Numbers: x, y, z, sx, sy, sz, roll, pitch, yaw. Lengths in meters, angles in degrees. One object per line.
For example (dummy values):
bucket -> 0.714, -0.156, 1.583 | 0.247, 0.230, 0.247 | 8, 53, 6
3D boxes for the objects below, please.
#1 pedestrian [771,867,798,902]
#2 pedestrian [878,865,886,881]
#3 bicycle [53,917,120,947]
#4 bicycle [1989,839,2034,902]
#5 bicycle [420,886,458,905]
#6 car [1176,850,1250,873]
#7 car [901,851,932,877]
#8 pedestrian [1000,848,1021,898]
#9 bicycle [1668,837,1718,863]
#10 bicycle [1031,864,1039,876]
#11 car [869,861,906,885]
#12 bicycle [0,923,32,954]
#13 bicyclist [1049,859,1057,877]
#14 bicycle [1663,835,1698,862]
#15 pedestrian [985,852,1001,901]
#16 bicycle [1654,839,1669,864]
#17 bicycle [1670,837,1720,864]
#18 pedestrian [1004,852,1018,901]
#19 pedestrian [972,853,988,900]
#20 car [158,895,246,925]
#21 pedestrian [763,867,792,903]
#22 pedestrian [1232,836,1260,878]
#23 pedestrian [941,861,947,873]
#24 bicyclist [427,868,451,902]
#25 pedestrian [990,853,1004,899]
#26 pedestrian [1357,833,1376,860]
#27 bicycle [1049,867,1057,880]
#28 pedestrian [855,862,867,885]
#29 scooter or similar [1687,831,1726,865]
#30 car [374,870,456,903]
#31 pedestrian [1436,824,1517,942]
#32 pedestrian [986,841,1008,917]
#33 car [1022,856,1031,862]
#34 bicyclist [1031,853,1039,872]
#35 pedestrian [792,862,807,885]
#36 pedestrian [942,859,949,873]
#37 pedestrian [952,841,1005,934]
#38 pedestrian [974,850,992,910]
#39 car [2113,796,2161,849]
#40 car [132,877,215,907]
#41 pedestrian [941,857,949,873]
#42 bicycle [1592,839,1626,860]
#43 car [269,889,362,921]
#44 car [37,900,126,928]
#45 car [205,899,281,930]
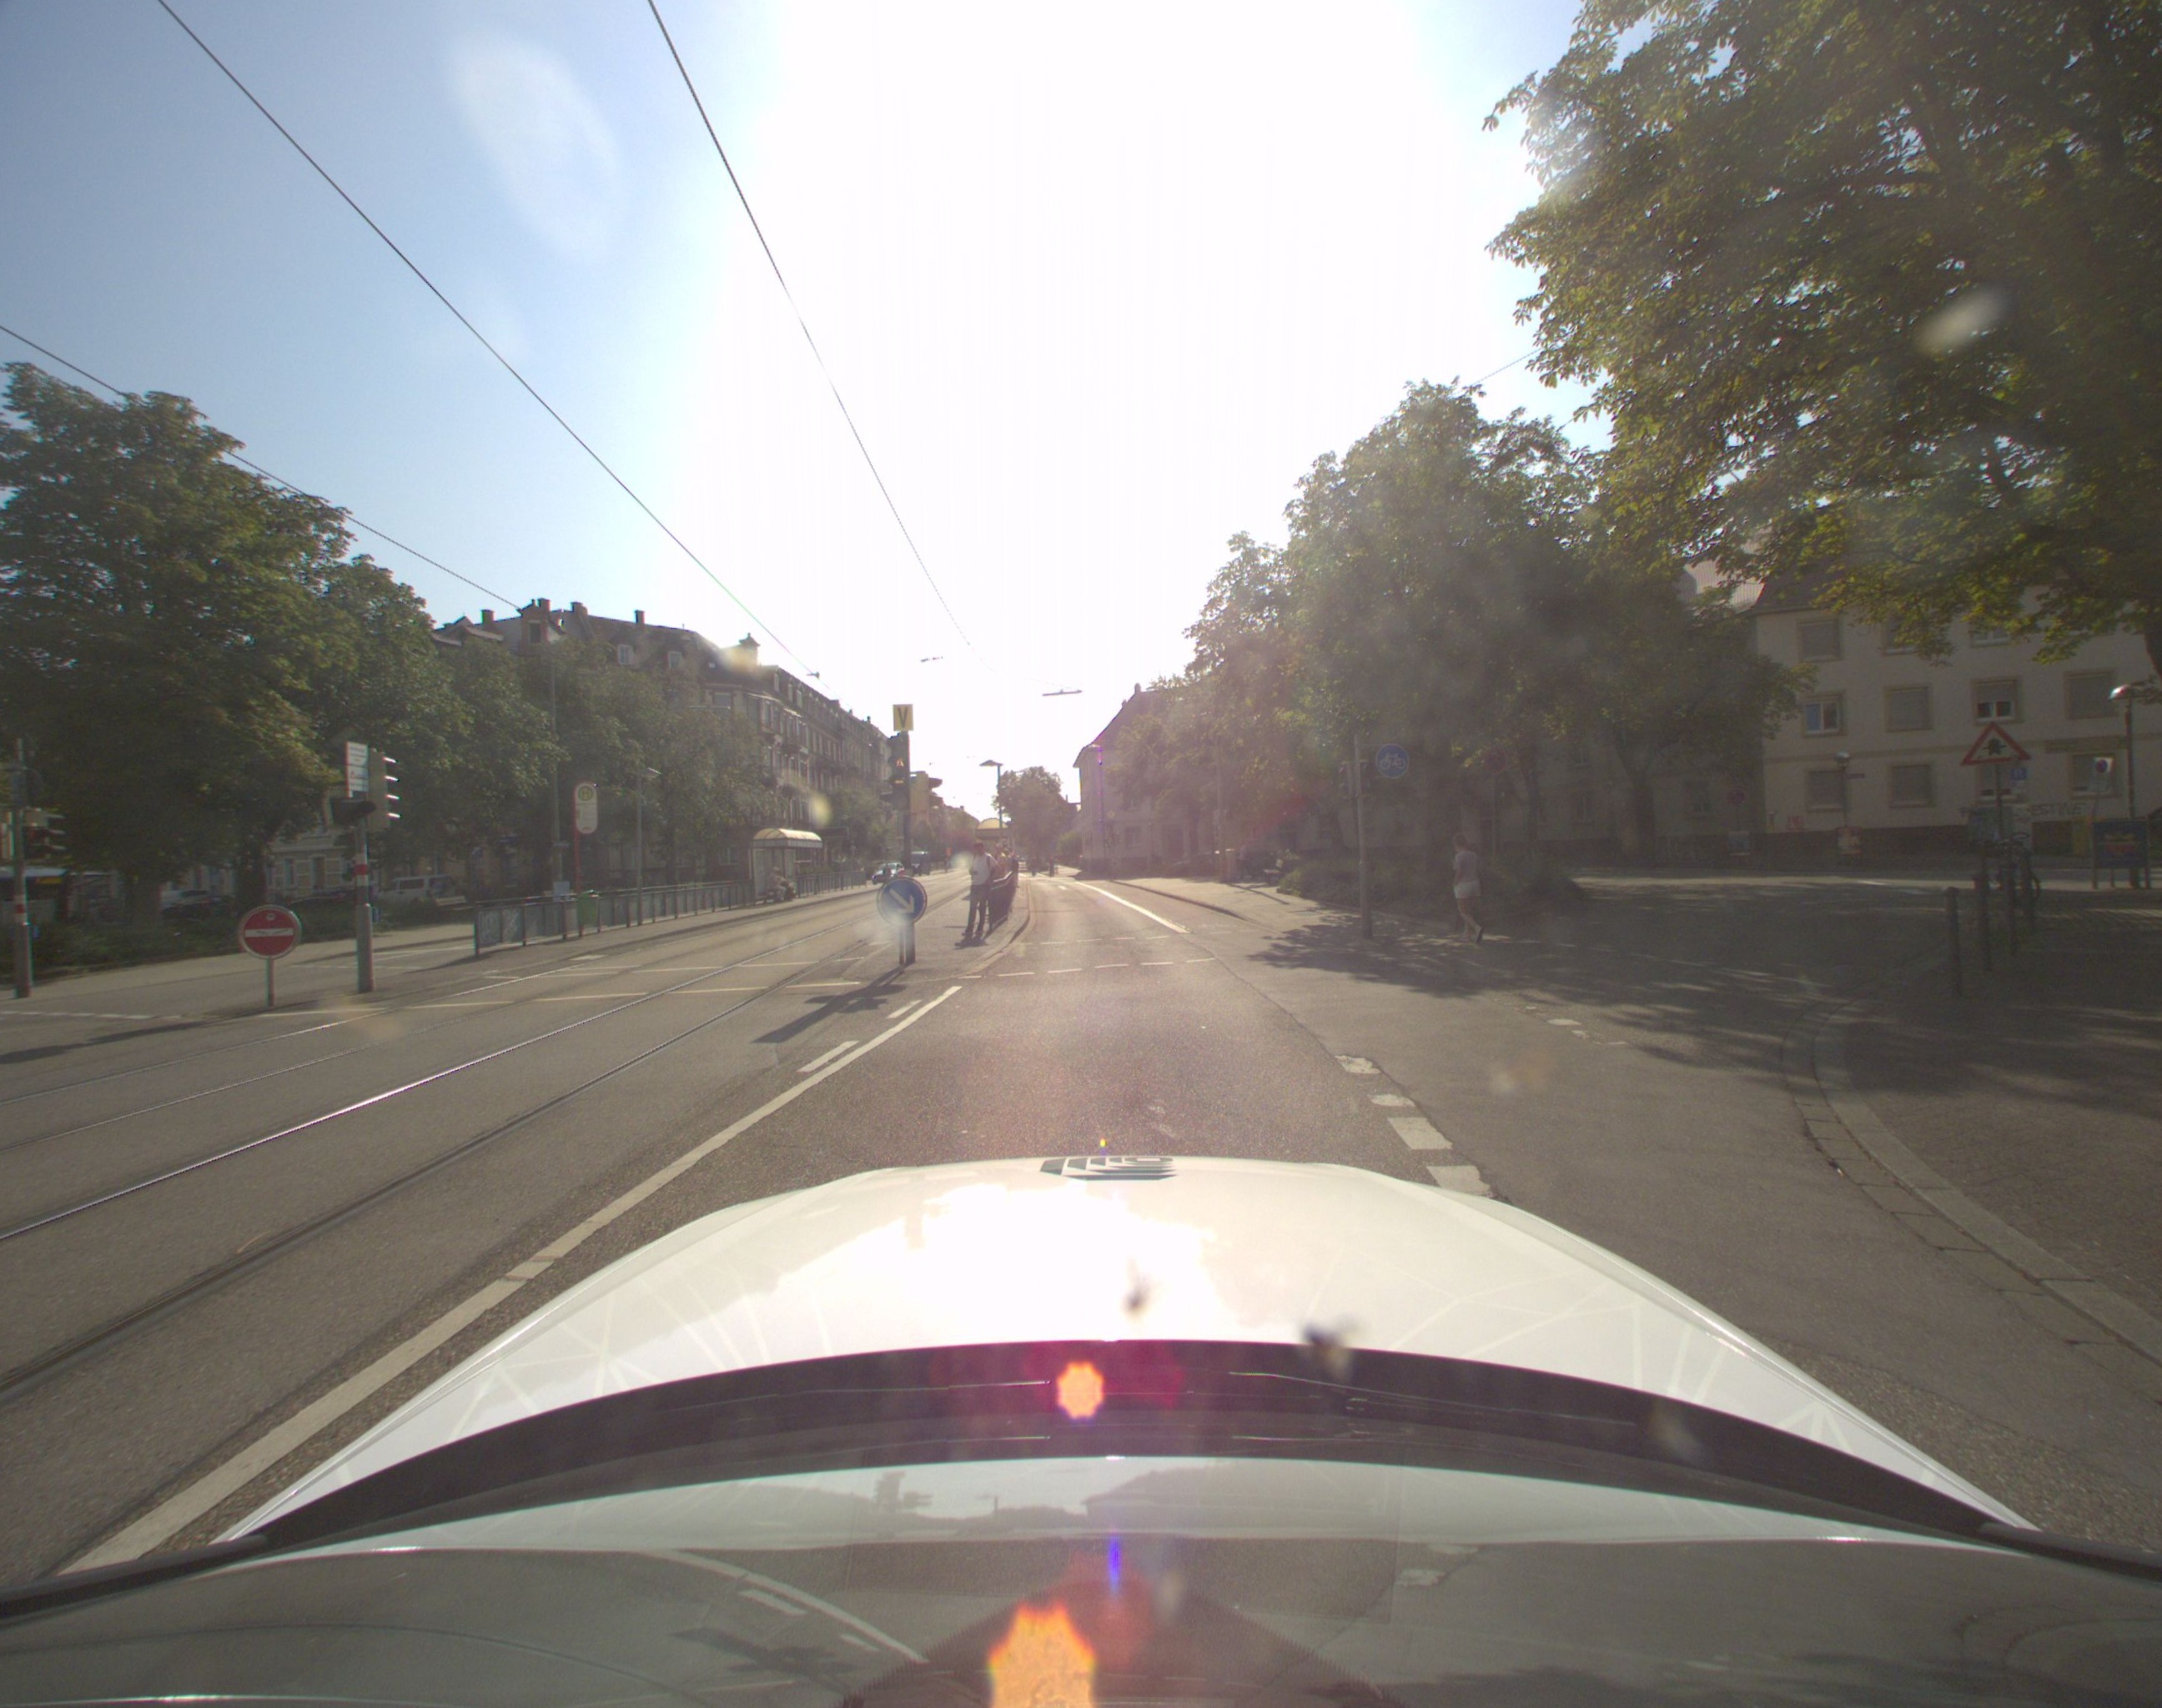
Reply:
pedestrian -> -11.923, 1.205, 32.756 | 0.827, 1.359, 0.774 | -3, 0, -8
pedestrian -> -21.041, 1.998, 86.235 | 0.750, 1.731, 0.768 | -2, 0, -13
bicycle -> -36.843, 2.881, 30.178 | 1.757, 0.978, 0.606 | -3, 0, 3
bicycle -> 15.959, 0.261, 13.987 | 1.780, 0.978, 0.420 | -3, 0, -43
bicycle -> -36.723, 2.380, 46.569 | 1.924, 0.978, 0.498 | -3, 0, 10
car -> 8.594, 0.509, 53.133 | 4.280, 1.320, 2.013 | -3, 0, 35
car -> -18.313, 1.118, 90.829 | 2.339, 2.662, 5.104 | -3, 0, 0
pedestrian -> -2.501, 0.670, 28.941 | 0.707, 1.759, 0.533 | 0, 2, -4
bicycle -> 24.390, -0.155, 32.484 | 1.540, 0.978, 0.427 | -3, 0, 11
bicycle -> -3.903, 1.371, 69.257 | 0.628, 0.978, 1.767 | -3, 0, -5
car -> -14.656, 1.421, 61.820 | 1.795, 1.653, 3.642 | -3, 0, 0
bicycle -> -35.994, 2.842, 26.917 | 0.423, 0.978, 1.767 | -3, 0, -4
bicyclist -> -2.268, 1.130, 65.369 | 0.557, 1.416, 0.870 | -3, 0, -5
bicycle -> 24.959, -0.225, 33.902 | 1.557, 1.038, 0.422 | -3, 0, -23
pedestrian -> -3.183, 0.814, 29.516 | 0.542, 1.759, 0.533 | 0, 2, -4
bicycle -> 24.043, -0.120, 33.725 | 0.420, 0.978, 1.566 | -3, 0, 34
bicycle -> 24.244, -0.137, 32.171 | 1.540, 0.978, 0.427 | -3, 0, 11
pedestrian -> -2.543, 0.801, 29.556 | 0.503, 1.759, 0.533 | 0, 2, -4
pedestrian -> -3.822, 0.839, 30.894 | 0.531, 1.759, 0.544 | 0, 2, -2
car -> -54.045, 3.422, 50.080 | 4.287, 1.569, 2.009 | -3, 0, 18
pedestrian -> -11.842, 1.196, 31.784 | 0.827, 1.359, 0.774 | -3, 0, -8
pedestrian -> 7.107, 0.132, 35.026 | 0.882, 1.740, 0.781 | -3, -1, 32
pedestrian -> -20.292, 1.955, 120.312 | 0.750, 1.731, 0.768 | -2, 0, -13
bicyclist -> -36.739, 1.758, 46.582 | 0.980, 1.857, 0.494 | -3, 0, 10
pedestrian -> -3.245, 0.832, 31.513 | 0.503, 1.759, 0.533 | 0, 2, -4
pedestrian -> 19.411, -0.518, 55.317 | 0.780, 1.740, 0.883 | -2, -1, -41
bicycle -> -2.241, 1.543, 65.353 | 0.557, 0.978, 1.853 | -3, 0, -5
pedestrian -> -17.013, 1.525, 62.916 | 0.750, 1.731, 0.768 | -2, 0, -13
scooter or similar -> 24.297, -0.232, 31.648 | 1.059, 1.197, 0.462 | -6, -1, 28
car -> -40.958, 1.991, 50.106 | 3.955, 1.828, 2.009 | -3, 0, 18
pedestrian -> 6.089, 0.429, 12.575 | 0.750, 1.731, 0.768 | -2, 0, -13
pedestrian -> -2.063, 0.601, 20.063 | 0.503, 1.833, 0.533 | 0, 2, -4
car -> -16.562, 1.459, 246.948 | 1.985, 1.783, 4.004 | -2, 0, 3
bicyclist -> -3.928, 0.714, 69.258 | 0.628, 1.507, 0.677 | -3, 0, -5
pedestrian -> -22.279, 1.520, 64.439 | 0.743, 1.731, 0.776 | -3, 0, 26
pedestrian -> -16.535, 1.472, 99.219 | 0.750, 1.731, 0.768 | -2, 0, -13
pedestrian -> -1.982, 0.626, 15.798 | 0.693, 1.725, 0.753 | 1, 2, 29
pedestrian -> -2.979, 0.778, 24.708 | 0.503, 1.759, 0.533 | 0, 2, -4
car -> 33.404, -0.996, 24.132 | 1.578, 1.612, 4.020 | -3, 0, 20
car -> -63.562, 2.645, 57.077 | 3.963, 1.828, 2.005 | -3, 0, 9
pedestrian -> -16.665, 1.324, 99.831 | 0.771, 1.893, 0.894 | -3, 0, -1
bicycle -> 24.988, -0.210, 38.565 | 0.424, 0.978, 1.552 | -3, 0, -6
car -> -44.659, 2.966, 47.540 | 4.288, 1.569, 2.009 | -3, 0, 17
car -> -65.584, 3.904, 53.441 | 4.291, 1.569, 2.008 | -3, 0, 14
car -> -56.884, 4.118, 55.291 | 3.955, 1.828, 2.009 | -3, 0, 18
